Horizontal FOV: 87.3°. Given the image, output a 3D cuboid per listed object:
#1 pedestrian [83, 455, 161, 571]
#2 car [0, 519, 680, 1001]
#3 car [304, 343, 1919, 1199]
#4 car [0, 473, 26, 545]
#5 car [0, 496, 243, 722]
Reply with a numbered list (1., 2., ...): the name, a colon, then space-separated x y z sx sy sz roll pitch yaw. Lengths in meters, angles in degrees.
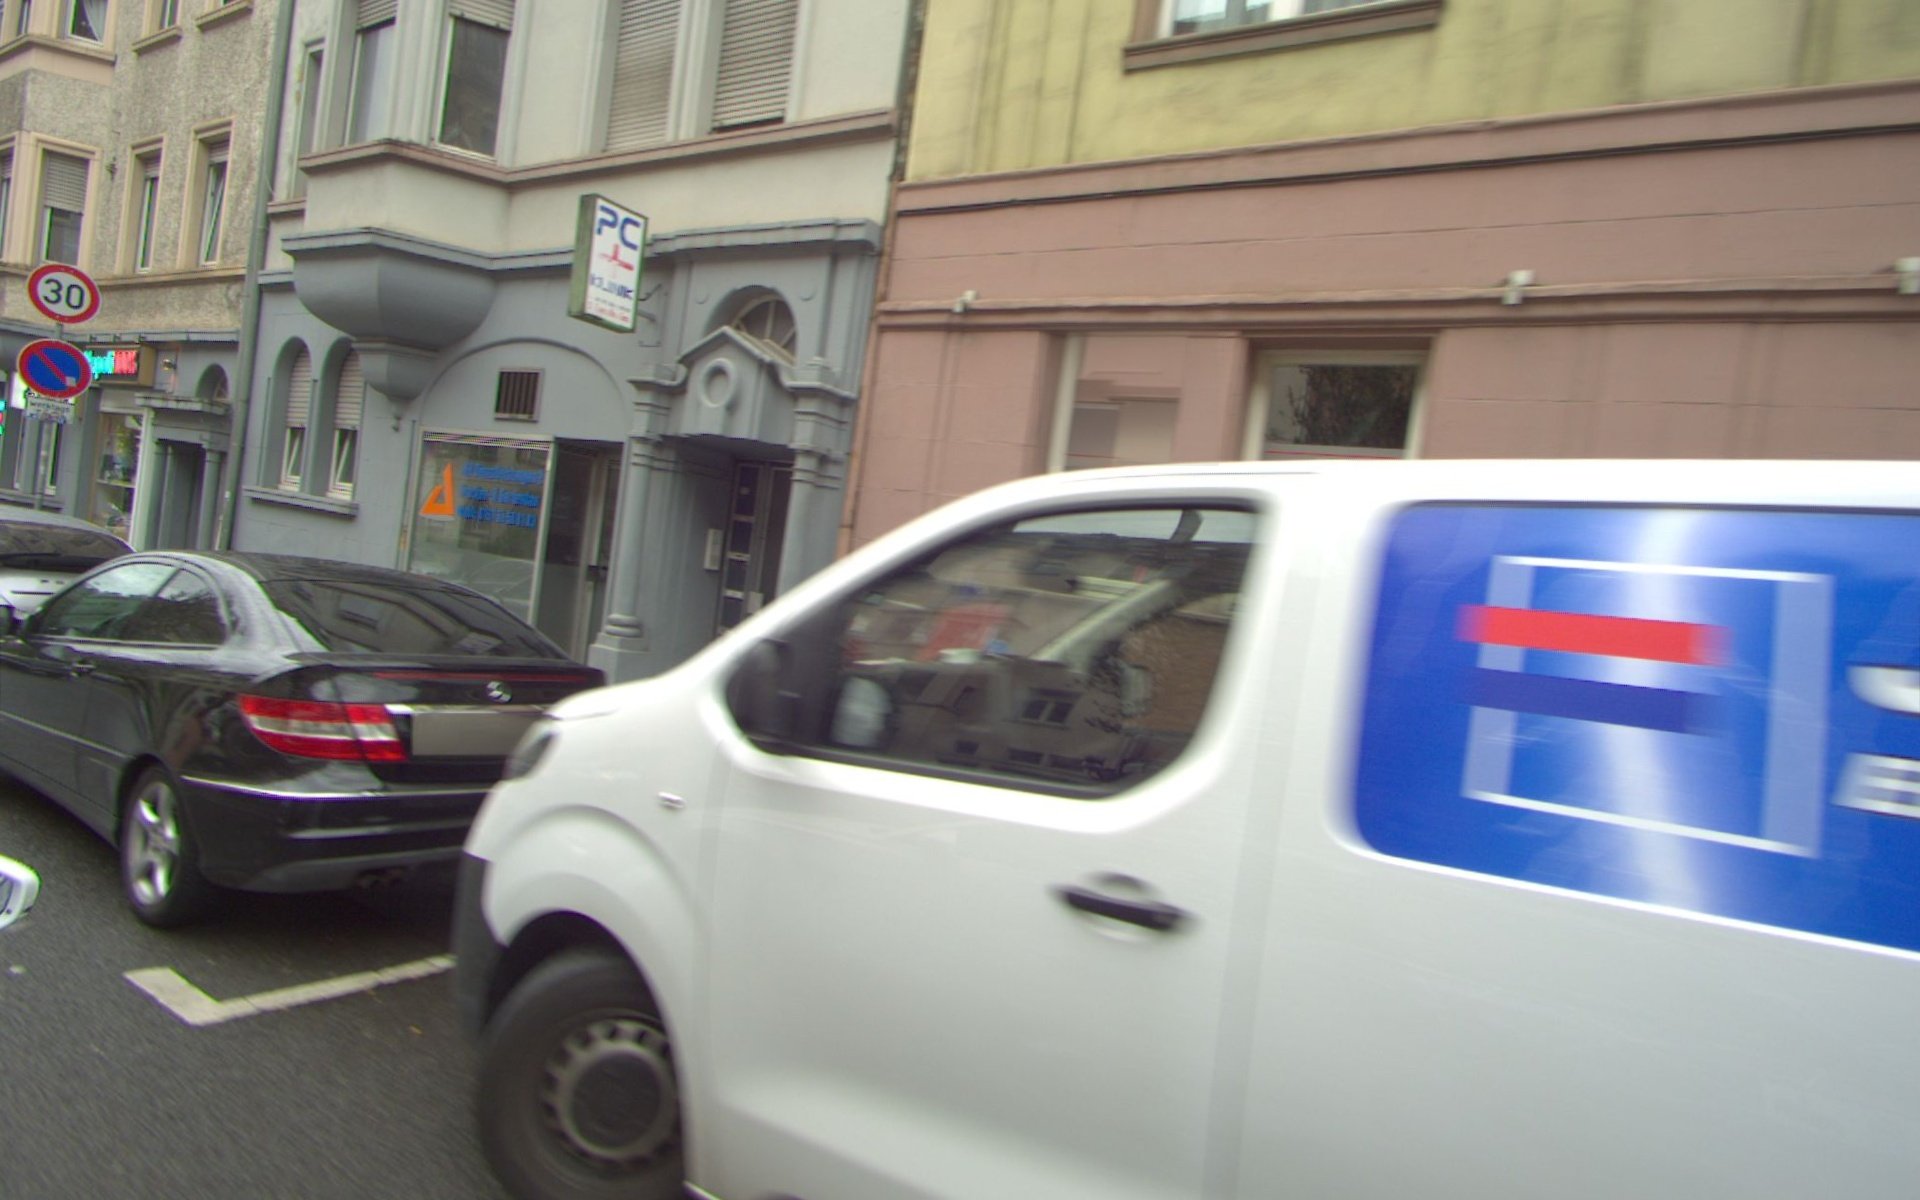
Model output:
1. pedestrian: -12.646 -1.303 15.197 0.655 1.641 0.485 6 2 2
2. car: -3.577 0.463 5.043 4.205 1.391 1.680 6 -1 32
3. car: 0.837 0.630 2.288 4.926 1.851 1.920 6 1 32
4. car: -27.136 -2.660 25.911 4.308 1.827 1.983 7 1 -41
5. car: -8.191 -0.130 8.041 4.690 1.484 1.881 6 -1 26
